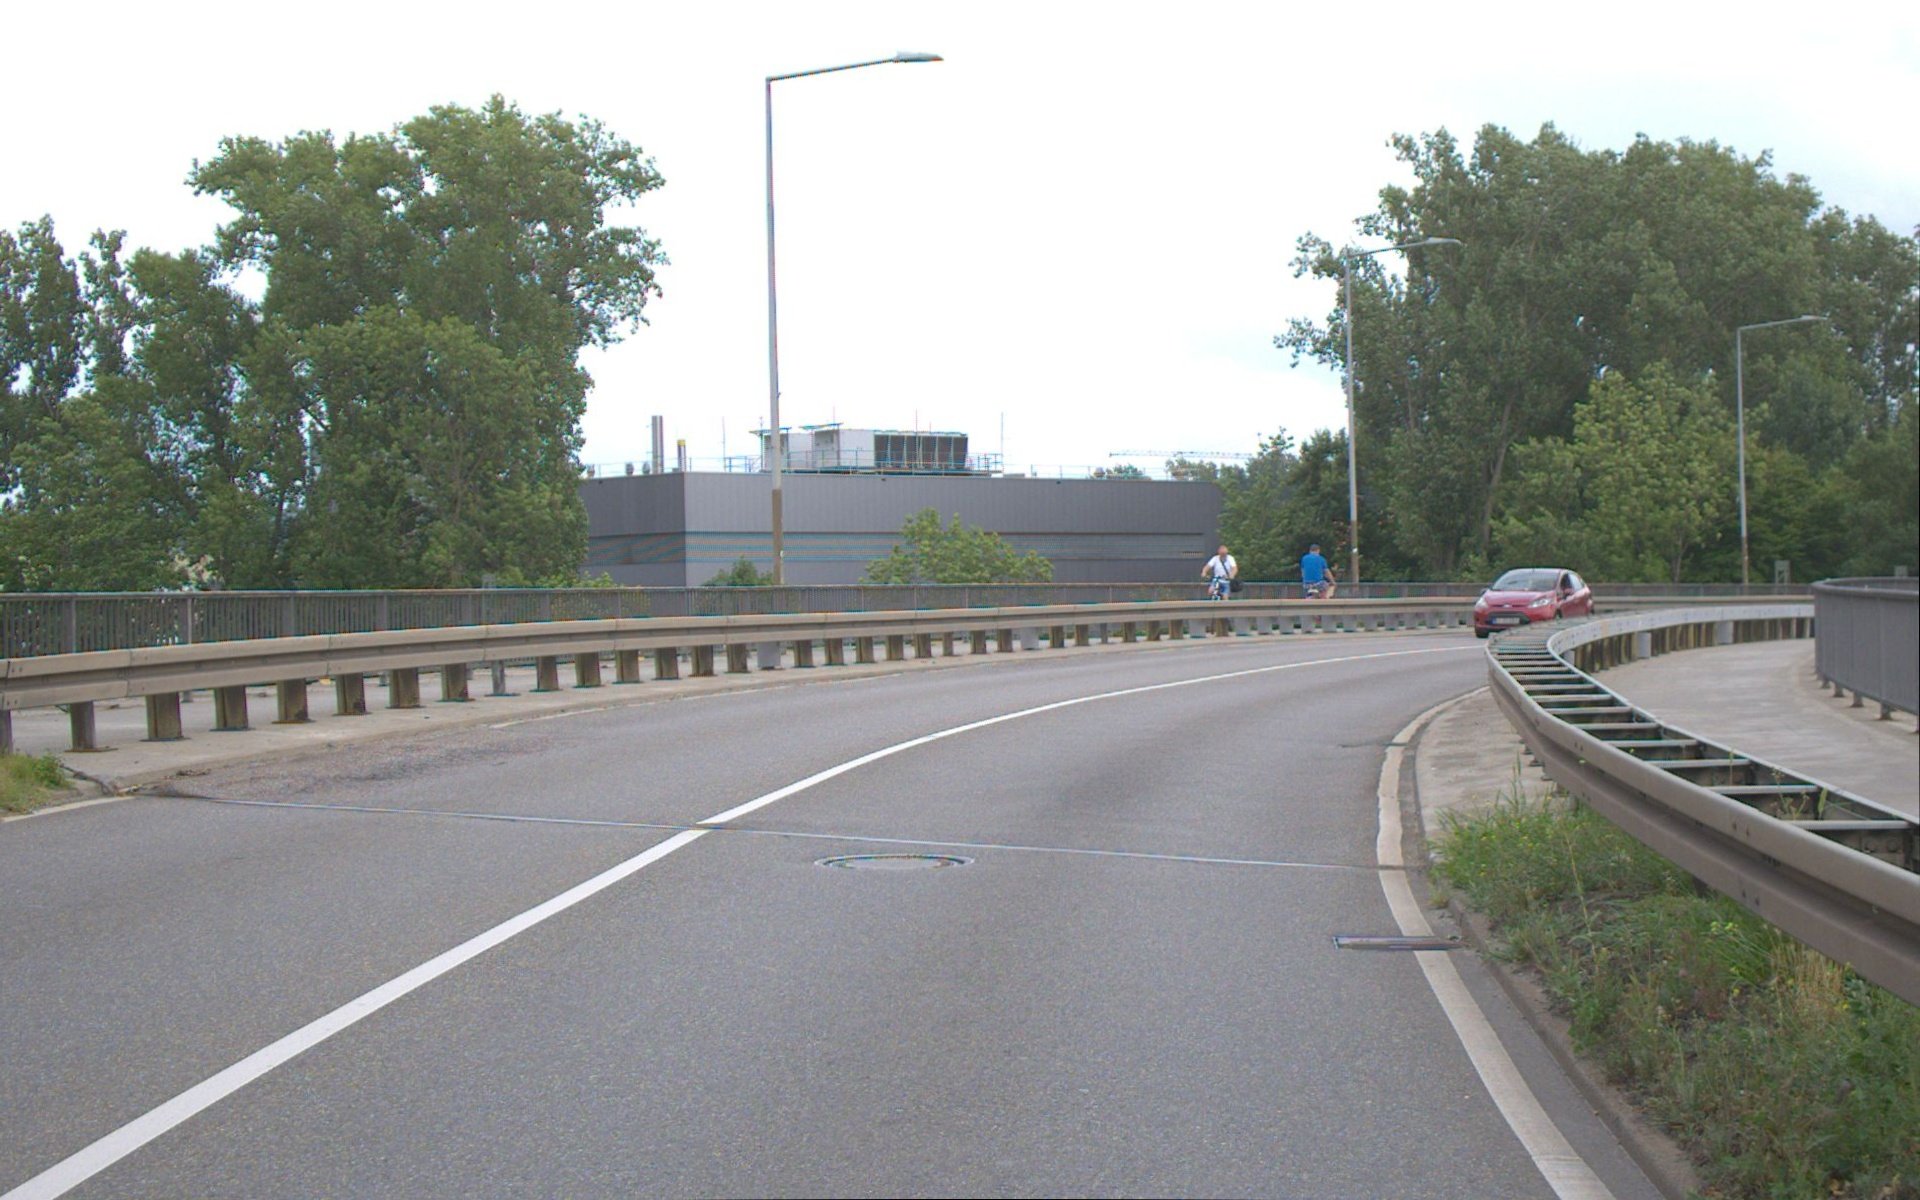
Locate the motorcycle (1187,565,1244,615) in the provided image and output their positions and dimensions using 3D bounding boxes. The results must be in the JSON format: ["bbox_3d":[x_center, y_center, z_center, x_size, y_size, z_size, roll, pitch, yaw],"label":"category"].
[{"bbox_3d":[4.986,-0.201,66.972,0.626,0.960,1.838,1,1,20],"label":"motorcycle"}]

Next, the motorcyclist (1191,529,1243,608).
[{"bbox_3d":[5.019,-0.618,67.071,0.810,1.524,0.823,1,0,18],"label":"motorcyclist"}]

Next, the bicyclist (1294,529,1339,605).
[{"bbox_3d":[7.237,-0.666,69.779,0.611,1.535,0.755,1,0,34],"label":"bicyclist"}]

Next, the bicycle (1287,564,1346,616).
[{"bbox_3d":[7.238,-0.201,69.733,0.493,1.042,1.807,1,1,29],"label":"bicycle"}]

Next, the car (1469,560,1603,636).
[{"bbox_3d":[11.789,-0.051,70.213,1.761,1.487,3.995,1,1,24],"label":"car"}]
